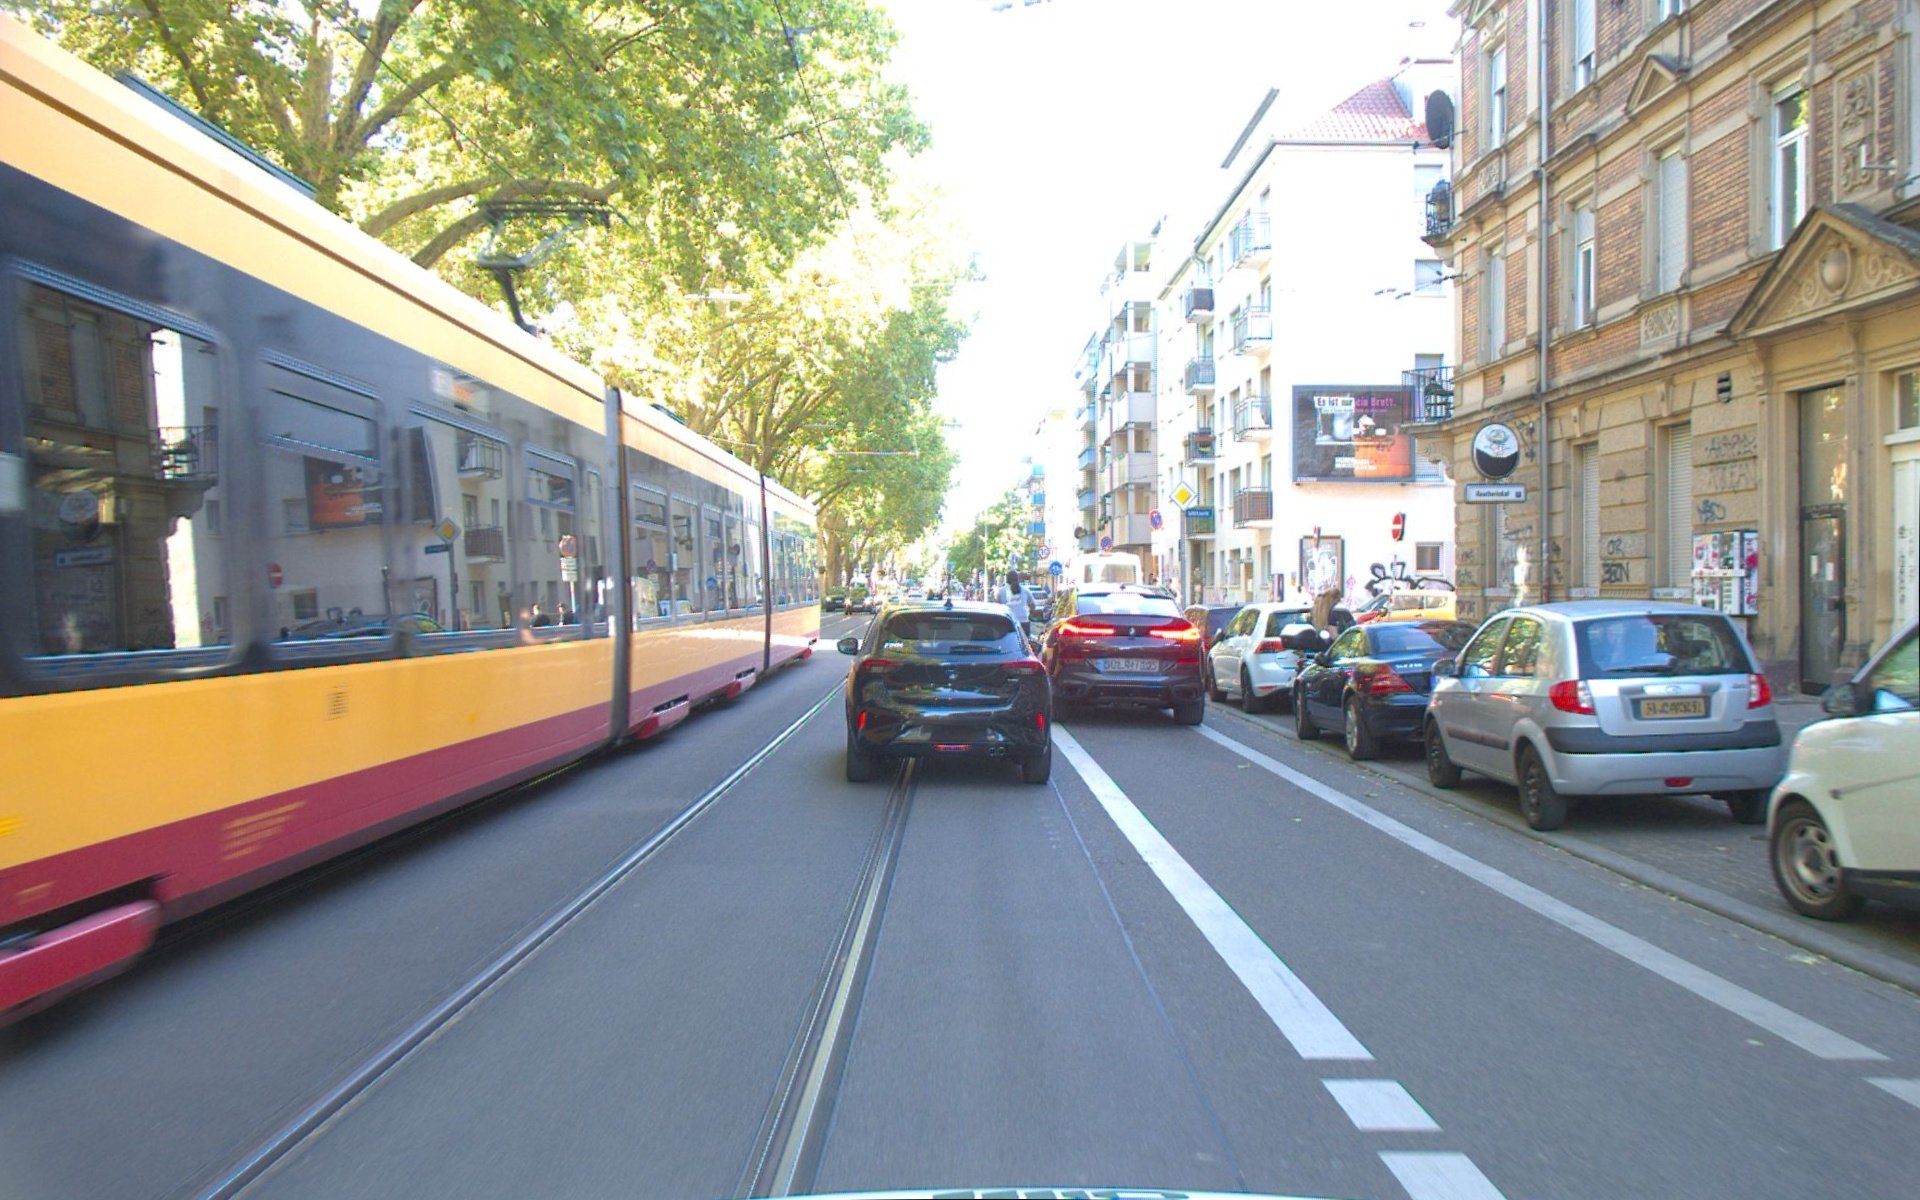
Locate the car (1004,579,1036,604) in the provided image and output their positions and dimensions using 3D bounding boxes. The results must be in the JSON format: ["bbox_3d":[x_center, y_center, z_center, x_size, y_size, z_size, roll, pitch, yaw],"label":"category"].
[{"bbox_3d":[3.632,-0.520,100.254,1.773,1.361,3.933,-4,0,1],"label":"car"}]

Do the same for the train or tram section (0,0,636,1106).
[{"bbox_3d":[-4.089,-0.416,7.271,2.678,3.746,12.717,-1,0,0],"label":"train or tram section"}]

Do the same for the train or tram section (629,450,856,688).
[{"bbox_3d":[-3.865,-0.522,32.756,2.678,3.746,12.717,-1,0,0],"label":"train or tram section"}]

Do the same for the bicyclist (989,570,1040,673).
[{"bbox_3d":[0.953,0.373,29.200,0.831,1.770,1.161,0,0,-2],"label":"bicyclist"}]

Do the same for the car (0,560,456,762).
[{"bbox_3d":[-10.429,0.766,22.257,6.494,2.451,2.457,1,0,-2],"label":"car"}]

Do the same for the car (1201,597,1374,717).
[{"bbox_3d":[4.507,0.731,23.309,1.628,1.444,3.933,-4,0,1],"label":"car"}]

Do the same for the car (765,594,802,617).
[{"bbox_3d":[-10.585,0.331,99.581,1.772,1.361,3.933,0,0,1],"label":"car"}]

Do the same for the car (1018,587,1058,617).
[{"bbox_3d":[3.835,0.100,82.055,1.773,1.361,3.933,-4,0,1],"label":"car"}]

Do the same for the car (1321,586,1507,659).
[{"bbox_3d":[11.695,0.566,42.778,4.289,1.830,1.876,0,0,-2],"label":"car"}]

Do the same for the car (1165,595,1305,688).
[{"bbox_3d":[4.739,0.672,29.017,1.773,1.403,3.933,-4,0,1],"label":"car"}]

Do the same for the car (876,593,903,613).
[{"bbox_3d":[-5.304,0.193,124.931,1.773,1.361,3.933,-4,0,1],"label":"car"}]

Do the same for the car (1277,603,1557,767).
[{"bbox_3d":[4.550,0.780,17.084,1.773,1.361,3.933,-4,0,1],"label":"car"}]

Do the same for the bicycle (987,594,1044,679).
[{"bbox_3d":[0.958,0.615,29.167,0.843,1.431,2.523,0,0,-2],"label":"bicycle"}]

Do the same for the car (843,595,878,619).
[{"bbox_3d":[-5.684,0.375,94.917,1.772,1.361,3.933,0,0,1],"label":"car"}]

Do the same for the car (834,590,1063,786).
[{"bbox_3d":[-0.114,0.668,14.527,1.757,1.466,3.531,0,1,-1],"label":"car"}]

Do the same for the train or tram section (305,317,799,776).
[{"bbox_3d":[-3.985,-0.469,20.002,2.678,3.746,12.717,-1,0,0],"label":"train or tram section"}]

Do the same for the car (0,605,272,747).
[{"bbox_3d":[-10.422,0.855,19.533,3.842,1.524,1.676,1,0,-4],"label":"car"}]

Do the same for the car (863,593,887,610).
[{"bbox_3d":[-7.459,0.099,145.444,1.773,1.361,3.933,-4,0,1],"label":"car"}]

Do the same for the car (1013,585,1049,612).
[{"bbox_3d":[3.902,-0.103,90.911,1.773,1.361,3.933,-4,0,1],"label":"car"}]

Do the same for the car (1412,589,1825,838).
[{"bbox_3d":[4.680,0.711,12.338,1.669,1.481,3.698,-4,0,3],"label":"car"}]

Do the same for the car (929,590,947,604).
[{"bbox_3d":[-2.235,-0.294,169.143,1.773,1.361,3.932,0,0,-1],"label":"car"}]

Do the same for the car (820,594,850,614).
[{"bbox_3d":[-8.713,0.258,115.287,1.772,1.361,3.933,0,0,1],"label":"car"}]

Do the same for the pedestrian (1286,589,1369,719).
[{"bbox_3d":[4.621,0.664,20.833,0.751,1.594,0.867,0,0,-9],"label":"pedestrian"}]

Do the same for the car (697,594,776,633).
[{"bbox_3d":[-11.303,0.676,83.802,3.842,1.821,1.676,1,0,-4],"label":"car"}]

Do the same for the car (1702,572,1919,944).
[{"bbox_3d":[4.809,0.649,7.287,1.536,1.543,3.039,-4,0,-3],"label":"car"}]

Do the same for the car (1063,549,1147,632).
[{"bbox_3d":[4.326,-0.277,49.929,2.033,2.257,4.933,-3,0,1],"label":"car"}]

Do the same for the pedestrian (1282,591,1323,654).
[{"bbox_3d":[8.711,0.566,42.100,0.849,1.594,0.768,0,0,-2],"label":"pedestrian"}]

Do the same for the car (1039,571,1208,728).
[{"bbox_3d":[1.988,0.567,21.093,1.772,1.772,3.933,1,0,1],"label":"car"}]

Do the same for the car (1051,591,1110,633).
[{"bbox_3d":[4.286,0.414,59.351,1.773,1.361,3.933,-4,0,1],"label":"car"}]
